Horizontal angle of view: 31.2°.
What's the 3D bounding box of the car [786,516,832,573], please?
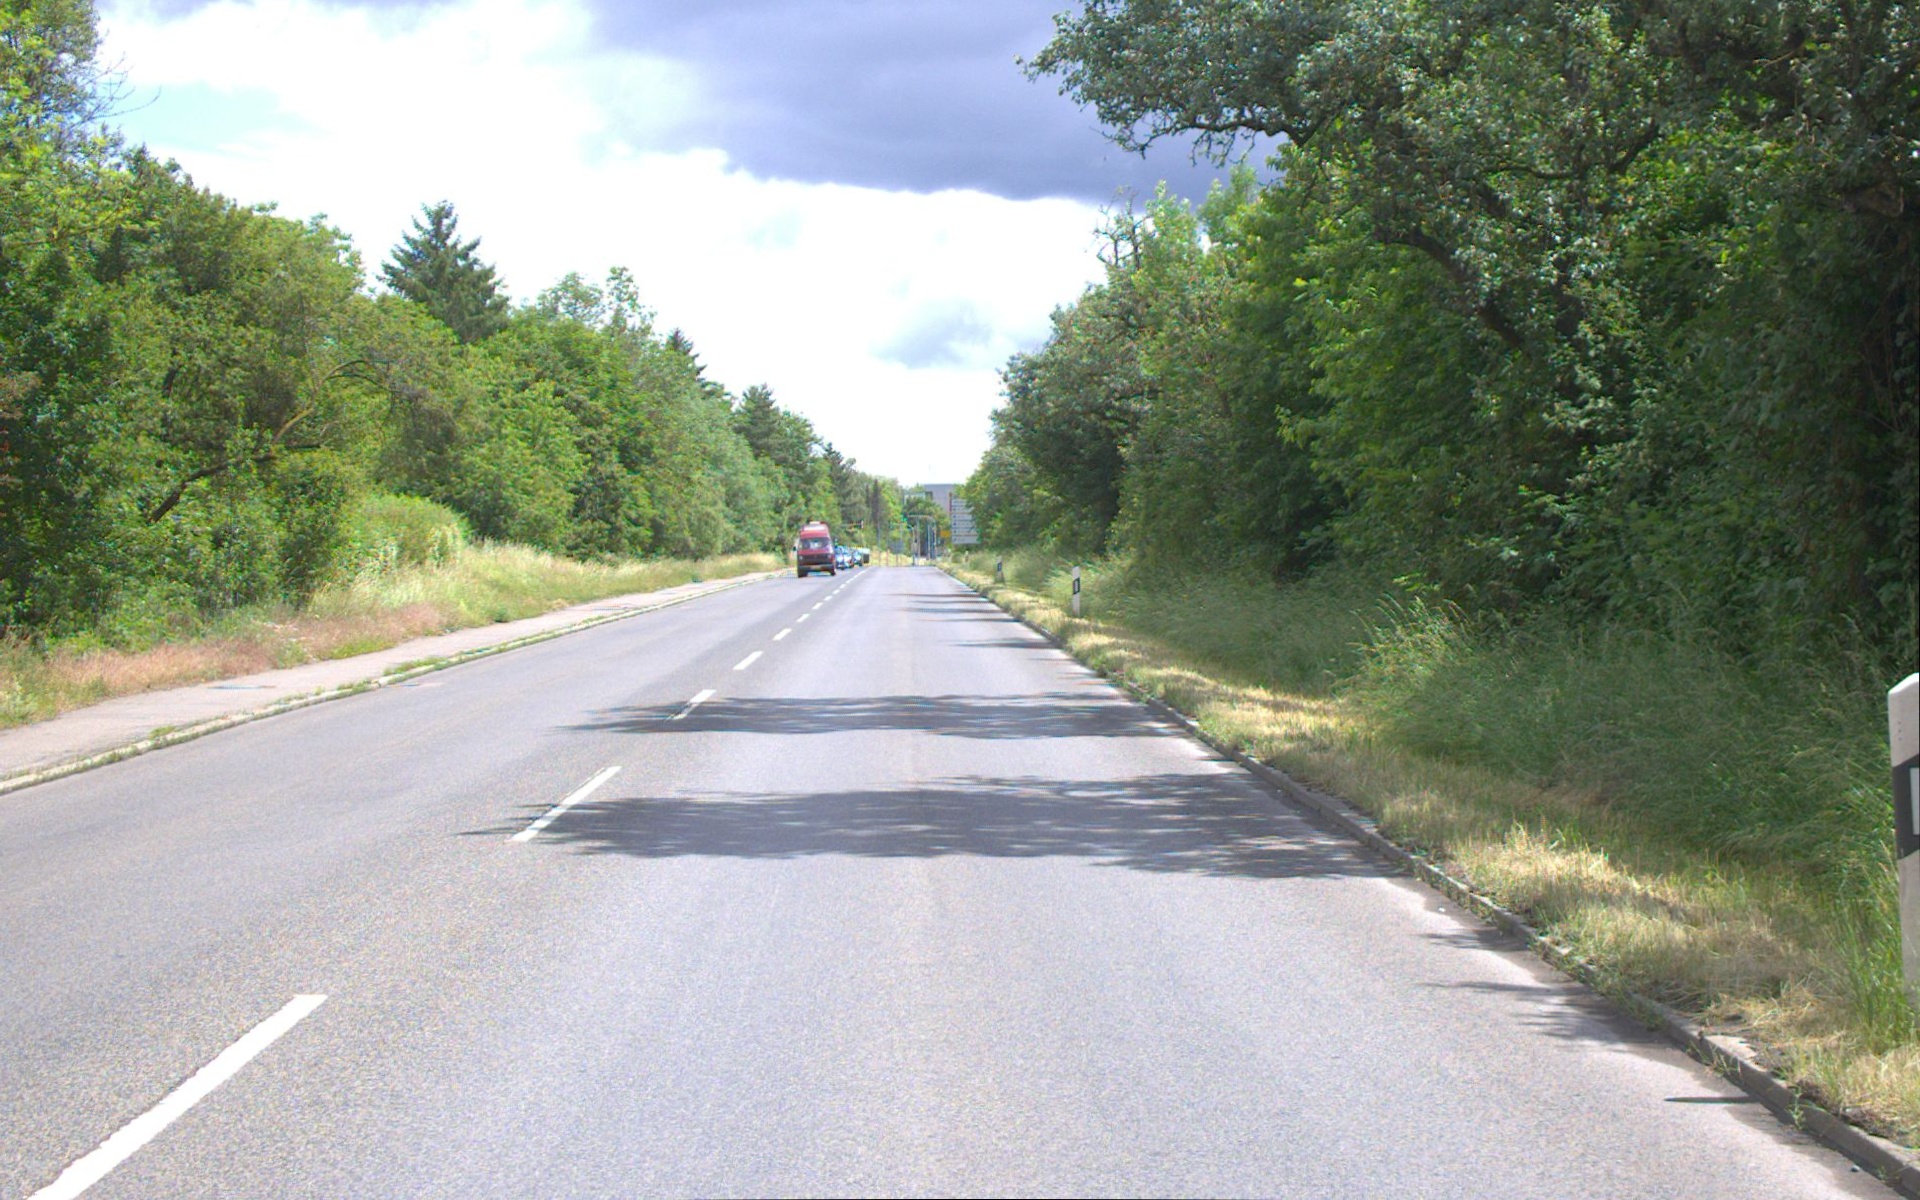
[{"bbox_3d":[-7.187,-2.638,164.165,1.969,2.541,4.725,-3,1,-1],"label":"car"}]
